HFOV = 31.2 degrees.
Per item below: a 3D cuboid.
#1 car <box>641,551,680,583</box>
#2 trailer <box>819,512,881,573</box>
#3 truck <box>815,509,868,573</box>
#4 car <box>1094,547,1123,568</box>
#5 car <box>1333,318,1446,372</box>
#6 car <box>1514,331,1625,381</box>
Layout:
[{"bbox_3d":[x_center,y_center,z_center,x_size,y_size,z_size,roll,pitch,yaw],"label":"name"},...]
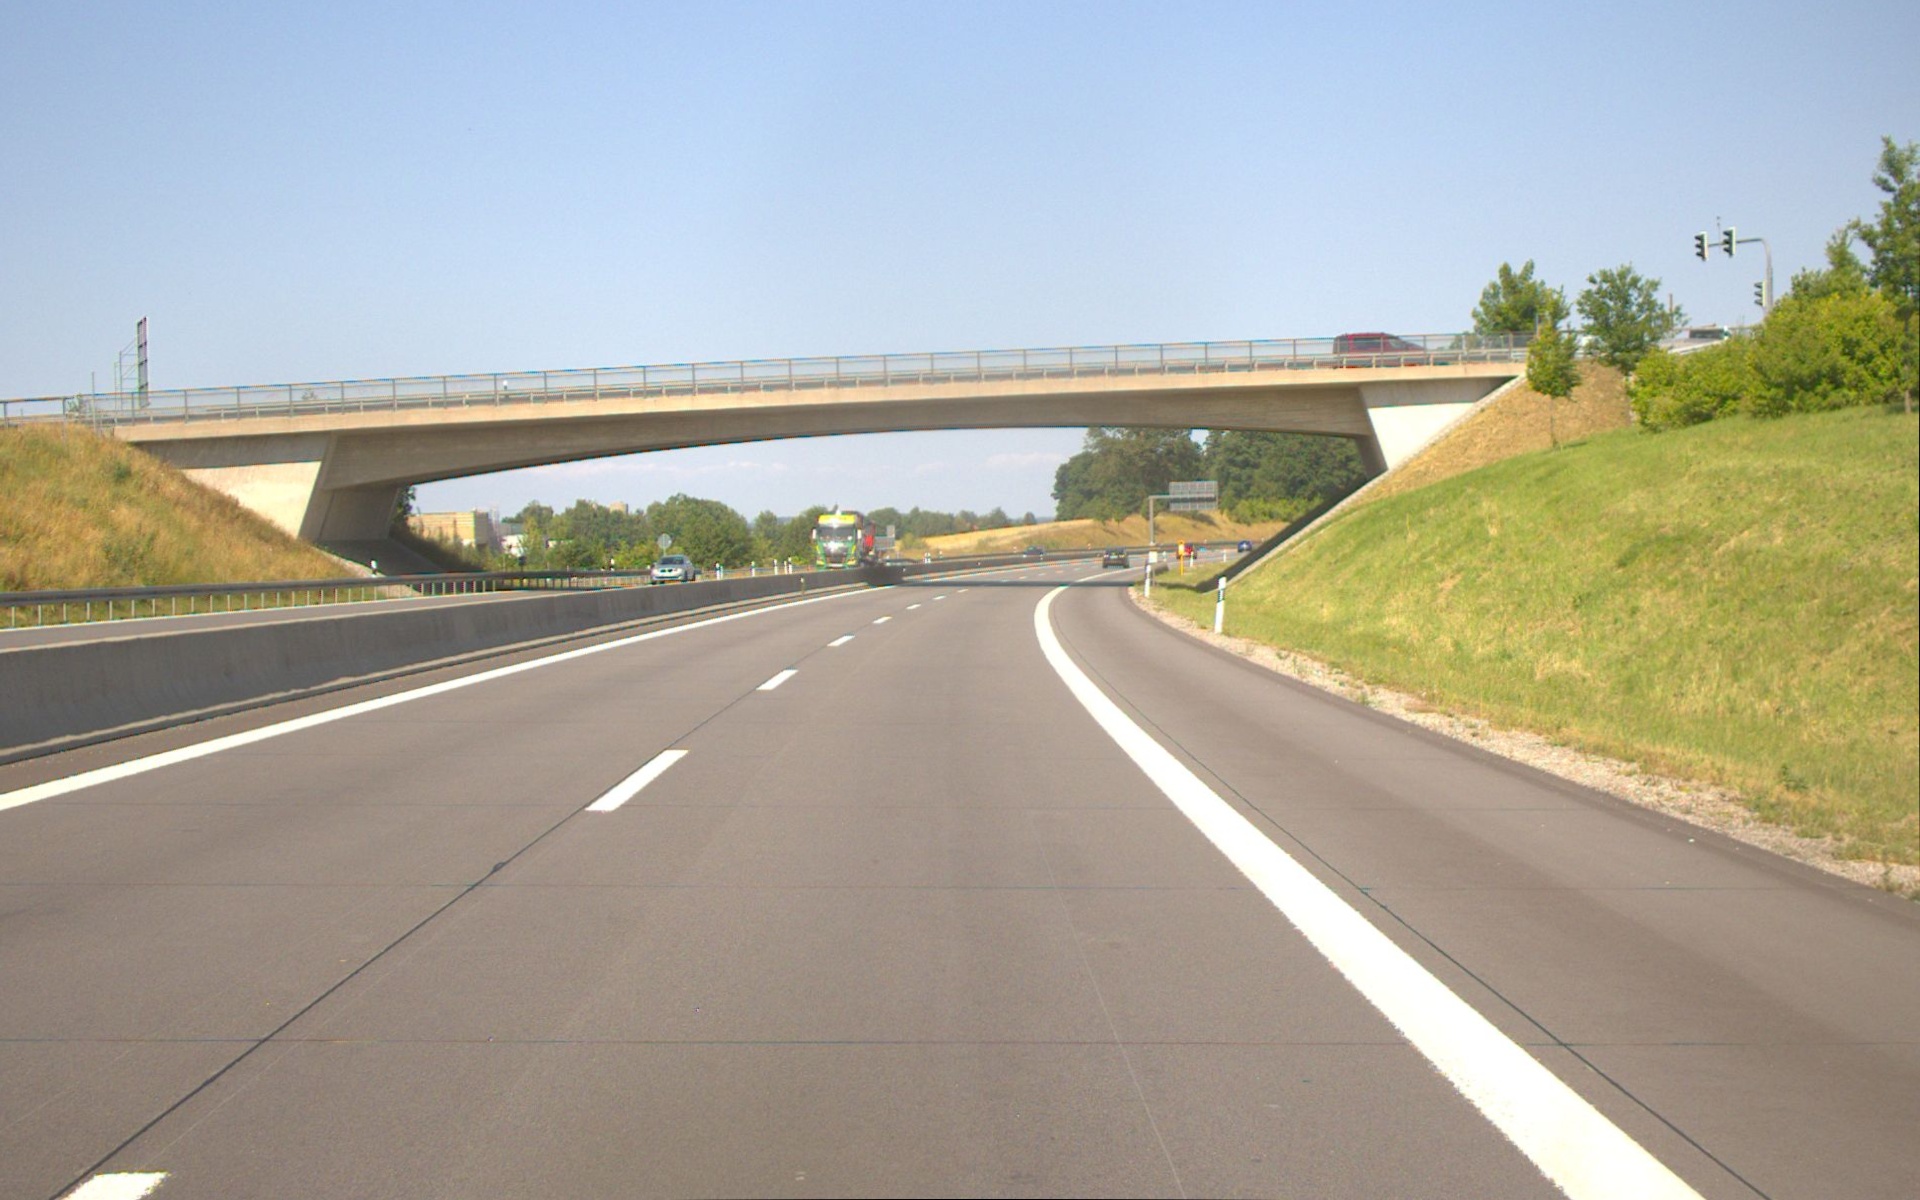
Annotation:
[{"bbox_3d":[-14.865,-1.635,170.520,1.861,1.525,4.569,-2,1,-5],"label":"car"},{"bbox_3d":[-6.900,-3.656,218.084,2.665,3.645,13.236,-2,1,3],"label":"trailer"},{"bbox_3d":[-7.237,-3.641,211.105,2.735,3.818,5.831,-2,1,2],"label":"truck"},{"bbox_3d":[10.714,-3.076,247.383,1.994,1.415,4.000,-2,1,3],"label":"car"},{"bbox_3d":[17.878,-10.610,143.236,4.247,2.014,2.000,-2,2,-5],"label":"car"},{"bbox_3d":[25.576,-10.239,144.281,4.122,1.875,2.001,-2,2,-6],"label":"car"}]
